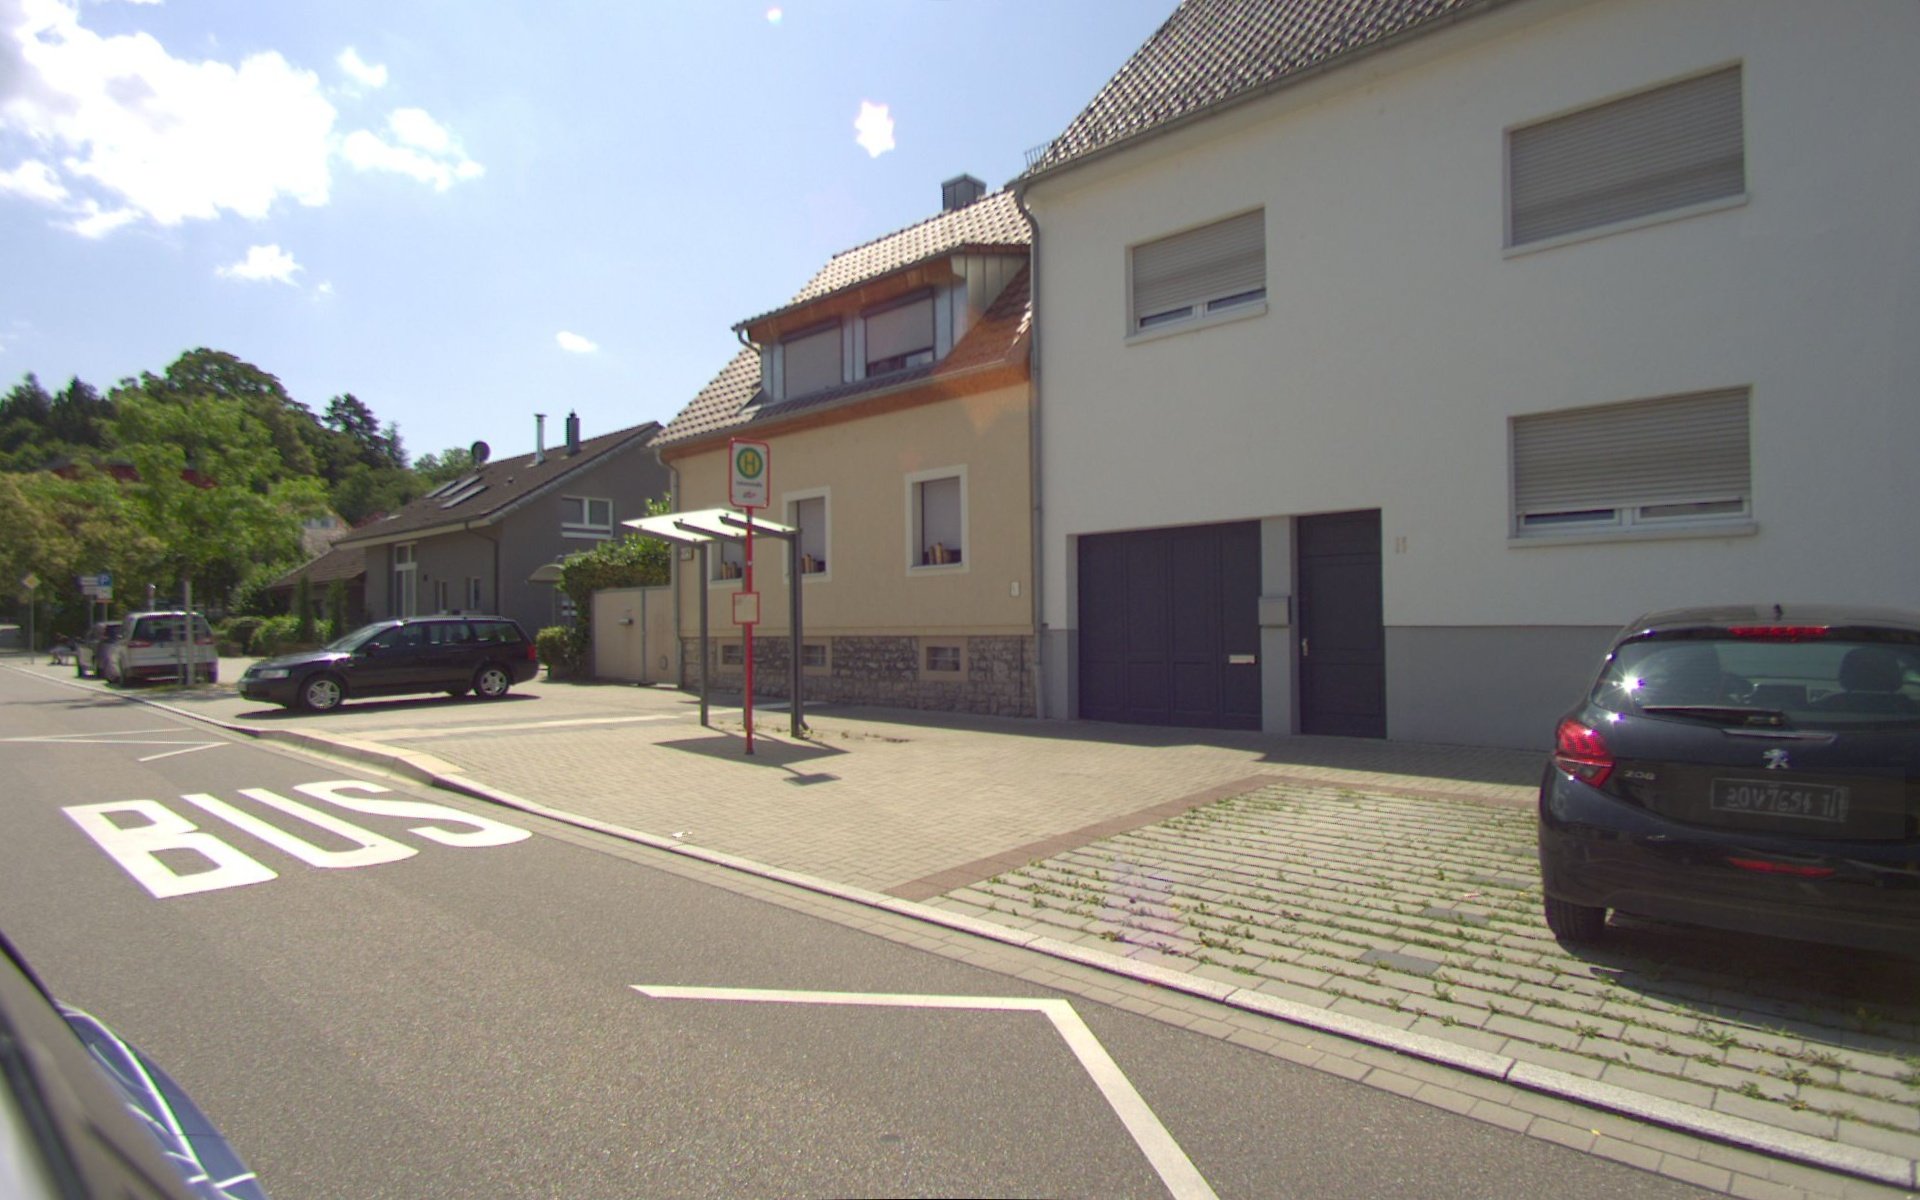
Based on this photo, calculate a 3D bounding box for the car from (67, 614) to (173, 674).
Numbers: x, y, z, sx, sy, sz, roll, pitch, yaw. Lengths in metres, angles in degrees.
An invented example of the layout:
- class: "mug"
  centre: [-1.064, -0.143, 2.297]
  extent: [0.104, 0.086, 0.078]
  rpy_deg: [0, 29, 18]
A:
- class: "car"
  centre: [-23.970, 1.245, 28.837]
  extent: [3.907, 1.536, 1.705]
  rpy_deg: [-2, 0, 41]

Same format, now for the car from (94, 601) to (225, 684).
- class: "car"
  centre: [-19.541, 1.009, 24.624]
  extent: [4.687, 1.760, 1.819]
  rpy_deg: [-2, 0, 44]

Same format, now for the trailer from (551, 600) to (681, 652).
- class: "trailer"
  centre: [-10.720, 0.767, 31.740]
  extent: [1.583, 1.399, 3.600]
  rpy_deg: [-1, 2, 36]

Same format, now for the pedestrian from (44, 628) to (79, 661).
- class: "pedestrian"
  centre: [-33.229, 1.644, 37.419]
  extent: [0.884, 1.150, 0.806]
  rpy_deg: [-1, 1, 38]

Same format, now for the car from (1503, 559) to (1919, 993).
- class: "car"
  centre: [4.241, 0.561, 5.108]
  extent: [1.900, 1.456, 3.947]
  rpy_deg: [-1, 0, 40]

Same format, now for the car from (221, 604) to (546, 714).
- class: "car"
  centre: [-9.857, 0.909, 17.613]
  extent: [1.901, 1.528, 4.538]
  rpy_deg: [-1, 1, 42]
